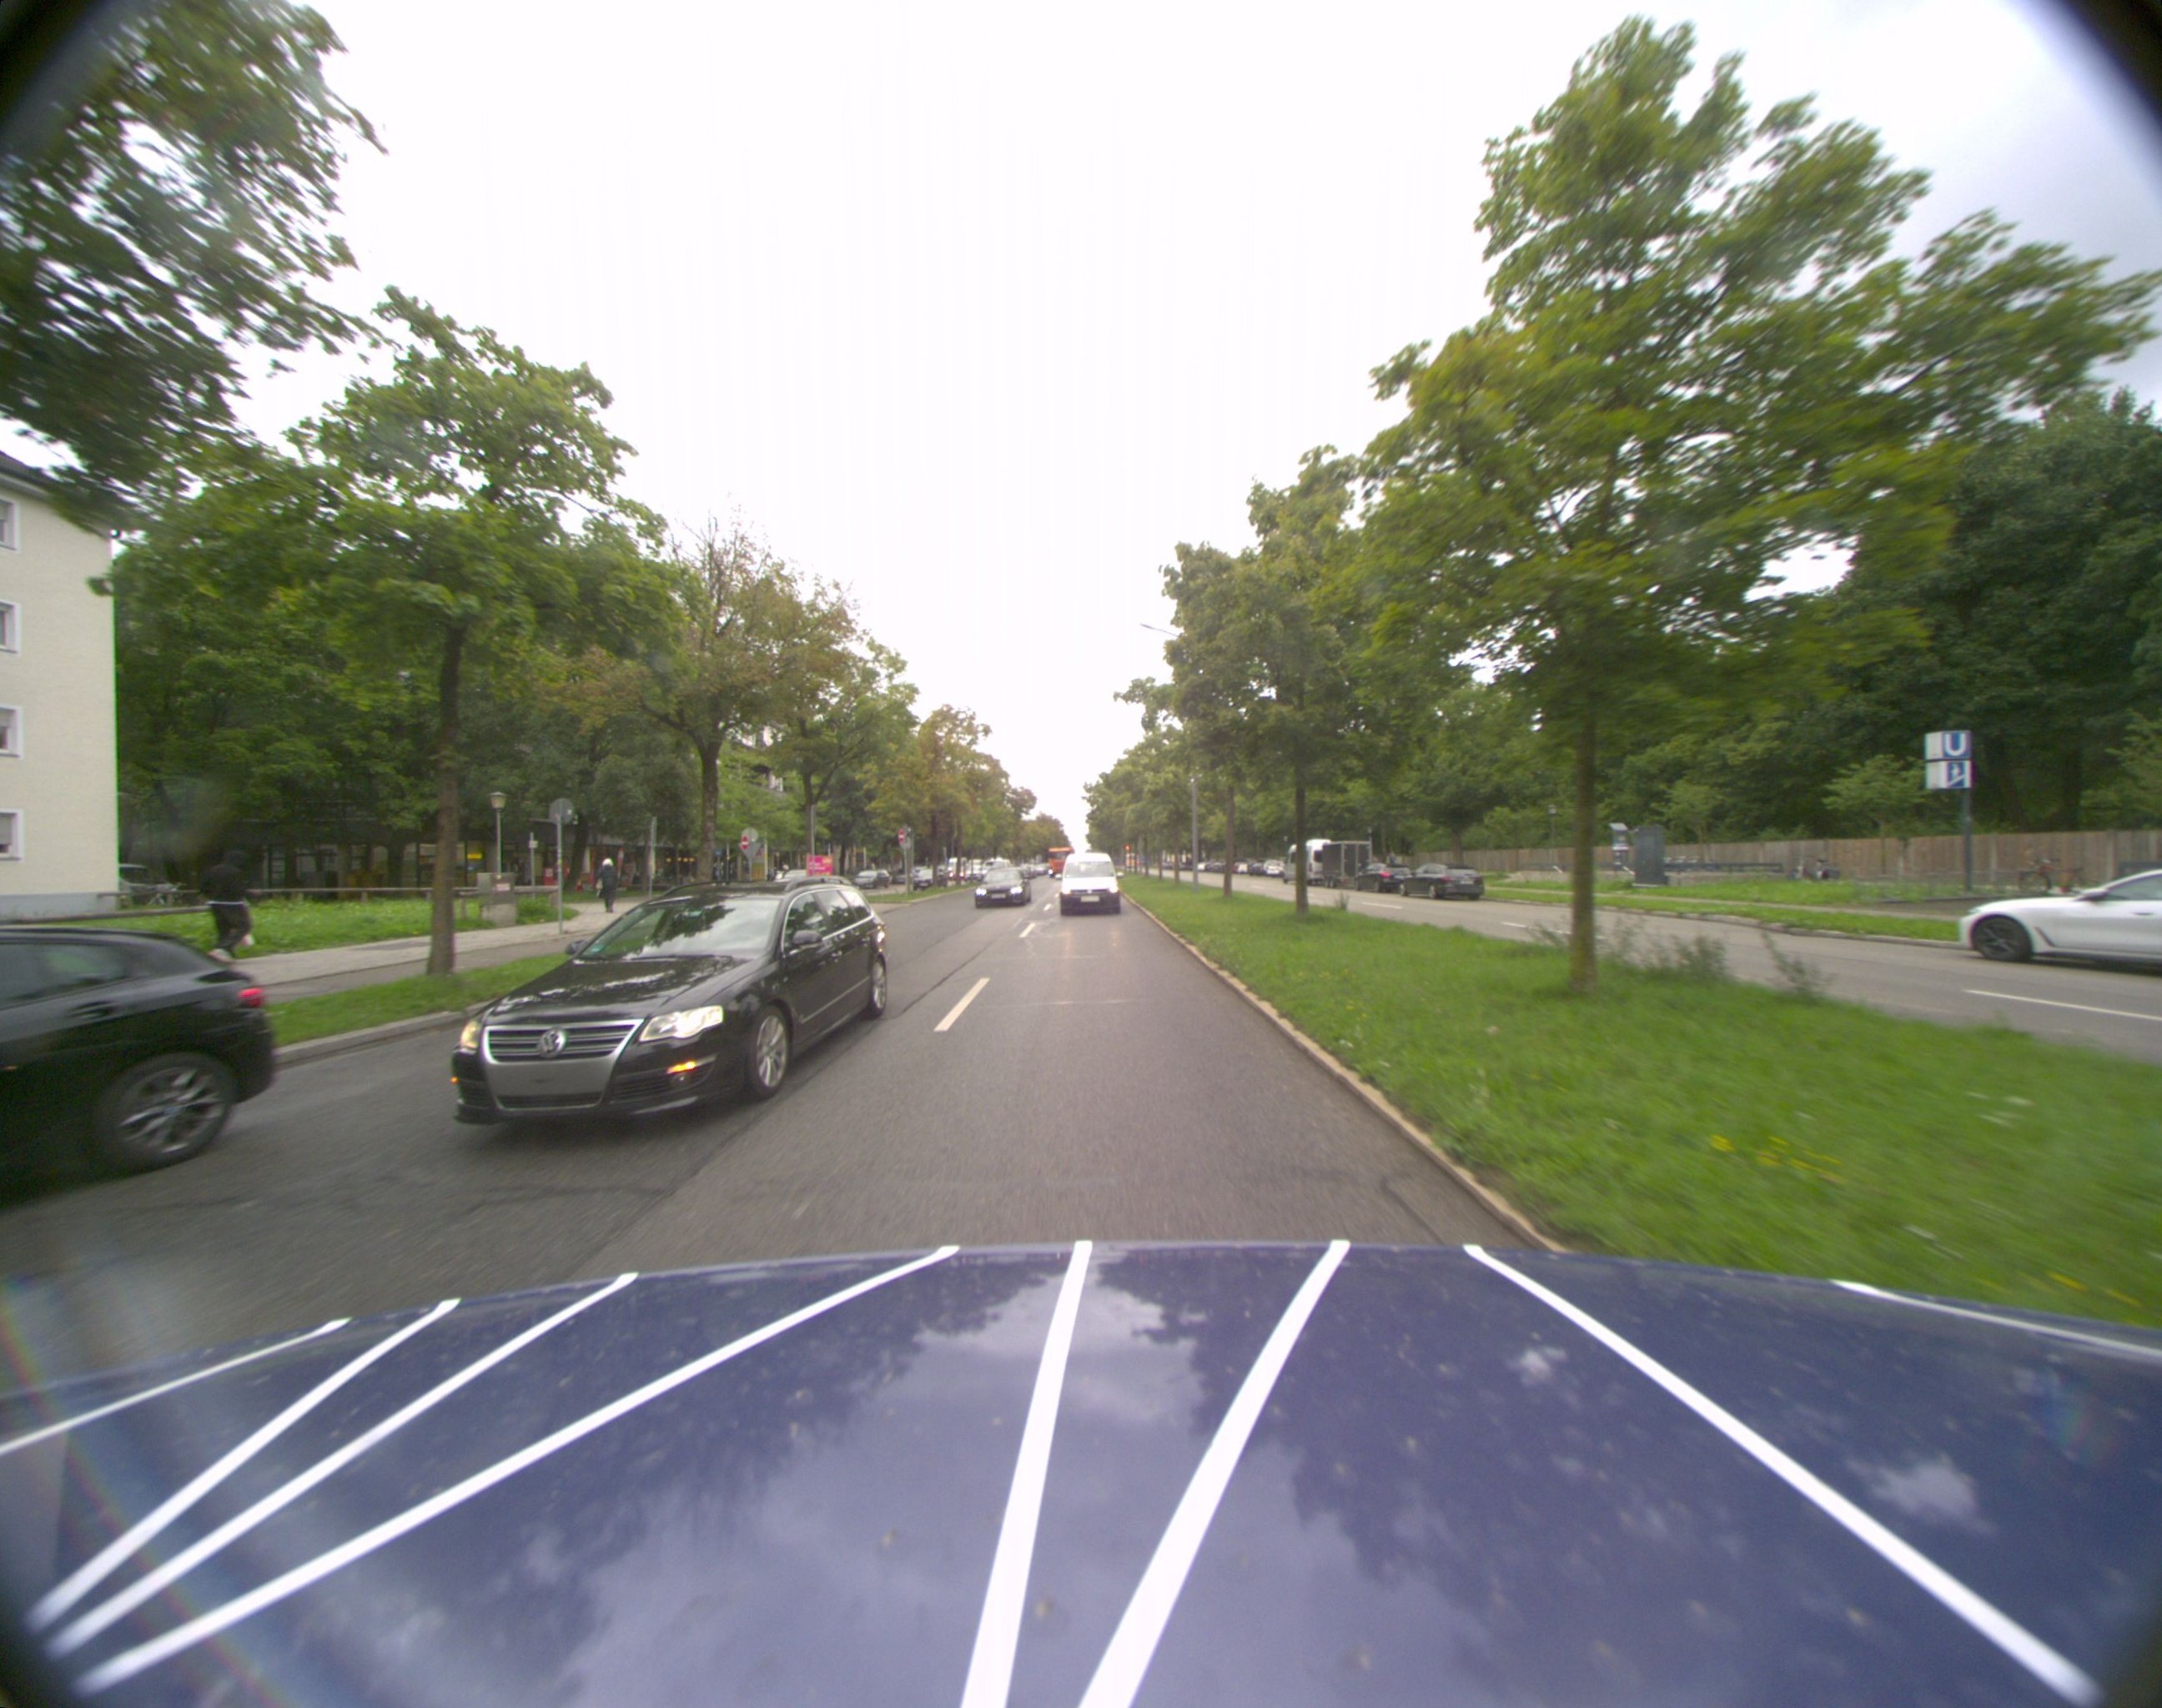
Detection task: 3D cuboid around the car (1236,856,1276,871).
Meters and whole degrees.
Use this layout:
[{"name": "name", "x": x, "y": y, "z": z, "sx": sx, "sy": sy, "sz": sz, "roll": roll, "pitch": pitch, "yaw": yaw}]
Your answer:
[{"name": "car", "x": 19.527, "y": 1.030, "z": 84.613, "sx": 4.005, "sy": 1.454, "sz": 1.888, "roll": -3, "pitch": -1, "yaw": -27}]

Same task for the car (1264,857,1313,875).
[{"name": "car", "x": 18.793, "y": 1.038, "z": 68.683, "sx": 4.331, "sy": 1.430, "sz": 1.797, "roll": -2, "pitch": 0, "yaw": -34}]

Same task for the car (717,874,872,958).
[{"name": "car", "x": -6.089, "y": 1.251, "z": 16.706, "sx": 1.686, "sy": 1.457, "sz": 4.115, "roll": -2, "pitch": 0, "yaw": 2}]

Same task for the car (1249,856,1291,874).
[{"name": "car", "x": 18.737, "y": 1.088, "z": 75.272, "sx": 4.006, "sy": 1.477, "sz": 1.797, "roll": -3, "pitch": -1, "yaw": -34}]

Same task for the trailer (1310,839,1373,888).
[{"name": "trailer", "x": 14.677, "y": 0.523, "z": 43.132, "sx": 2.022, "sy": 2.575, "sz": 4.659, "roll": 0, "pitch": 0, "yaw": 1}]

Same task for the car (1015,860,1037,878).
[{"name": "car", "x": -5.566, "y": 1.489, "z": 77.431, "sx": 1.686, "sy": 1.631, "sz": 4.465, "roll": -4, "pitch": 0, "yaw": 0}]

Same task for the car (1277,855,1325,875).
[{"name": "car", "x": 18.968, "y": 0.943, "z": 65.527, "sx": 4.007, "sy": 1.613, "sz": 1.797, "roll": -2, "pitch": 0, "yaw": -35}]

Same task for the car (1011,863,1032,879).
[{"name": "car", "x": -5.600, "y": 1.574, "z": 72.053, "sx": 1.686, "sy": 1.367, "sz": 4.081, "roll": -2, "pitch": 0, "yaw": -1}]

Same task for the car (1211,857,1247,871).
[{"name": "car", "x": 18.207, "y": 1.203, "z": 93.228, "sx": 4.006, "sy": 1.548, "sz": 1.887, "roll": -3, "pitch": -1, "yaw": -32}]

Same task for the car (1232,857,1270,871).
[{"name": "car", "x": 19.610, "y": 1.148, "z": 87.662, "sx": 4.005, "sy": 1.446, "sz": 1.737, "roll": -3, "pitch": -1, "yaw": -27}]

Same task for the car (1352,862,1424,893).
[{"name": "car", "x": 14.893, "y": 1.094, "z": 37.115, "sx": 1.805, "sy": 1.376, "sz": 4.238, "roll": 0, "pitch": 0, "yaw": 1}]

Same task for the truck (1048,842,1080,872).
[{"name": "truck", "x": -1.829, "y": 0.328, "z": 85.042, "sx": 3.046, "sy": 3.170, "sz": 9.134, "roll": -2, "pitch": 0, "yaw": 1}]

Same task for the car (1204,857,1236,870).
[{"name": "car", "x": 18.941, "y": 1.248, "z": 103.283, "sx": 4.006, "sy": 1.548, "sz": 1.887, "roll": -3, "pitch": -1, "yaw": -32}]

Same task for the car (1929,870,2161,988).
[{"name": "car", "x": 14.674, "y": 0.986, "z": 9.867, "sx": 1.861, "sy": 1.464, "sz": 4.875, "roll": 0, "pitch": 0, "yaw": 0}]

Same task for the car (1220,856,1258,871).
[{"name": "car", "x": 18.827, "y": 1.185, "z": 90.657, "sx": 4.005, "sy": 1.548, "sz": 1.888, "roll": -3, "pitch": -1, "yaw": -27}]

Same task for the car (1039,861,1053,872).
[{"name": "car", "x": -5.060, "y": 1.794, "z": 110.845, "sx": 1.735, "sy": 1.507, "sz": 4.442, "roll": -2, "pitch": 0, "yaw": -1}]

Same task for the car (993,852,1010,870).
[{"name": "car", "x": -12.476, "y": 1.053, "z": 119.790, "sx": 1.978, "sy": 2.641, "sz": 6.006, "roll": -2, "pitch": 0, "yaw": 0}]

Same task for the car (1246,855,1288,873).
[{"name": "car", "x": 19.159, "y": 1.037, "z": 78.316, "sx": 4.005, "sy": 1.577, "sz": 1.798, "roll": -3, "pitch": -1, "yaw": -28}]

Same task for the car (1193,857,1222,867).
[{"name": "car", "x": 18.640, "y": 1.189, "z": 112.082, "sx": 4.006, "sy": 1.357, "sz": 1.588, "roll": -2, "pitch": 0, "yaw": -30}]

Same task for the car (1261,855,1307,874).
[{"name": "car", "x": 19.311, "y": 0.985, "z": 72.339, "sx": 4.331, "sy": 1.564, "sz": 1.797, "roll": -2, "pitch": 0, "yaw": -34}]

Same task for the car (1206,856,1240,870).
[{"name": "car", "x": 18.677, "y": 1.201, "z": 99.810, "sx": 4.006, "sy": 1.548, "sz": 1.887, "roll": -3, "pitch": -1, "yaw": -32}]

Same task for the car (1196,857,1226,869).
[{"name": "car", "x": 18.646, "y": 1.303, "z": 108.824, "sx": 4.006, "sy": 1.548, "sz": 1.887, "roll": -3, "pitch": -1, "yaw": -32}]

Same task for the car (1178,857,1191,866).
[{"name": "car", "x": 17.674, "y": 1.297, "z": 129.780, "sx": 1.889, "sy": 1.435, "sz": 4.170, "roll": -2, "pitch": 0, "yaw": 5}]

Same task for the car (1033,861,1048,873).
[{"name": "car", "x": -5.305, "y": 1.674, "z": 100.135, "sx": 1.735, "sy": 1.498, "sz": 4.442, "roll": -2, "pitch": 0, "yaw": -1}]

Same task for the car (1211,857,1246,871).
[{"name": "car", "x": 18.826, "y": 1.227, "z": 96.880, "sx": 4.006, "sy": 1.548, "sz": 1.887, "roll": -3, "pitch": -1, "yaw": -32}]

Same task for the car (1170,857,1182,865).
[{"name": "car", "x": 17.721, "y": 1.237, "z": 141.765, "sx": 1.889, "sy": 1.435, "sz": 4.170, "roll": -2, "pitch": 0, "yaw": 5}]

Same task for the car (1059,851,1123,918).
[{"name": "car", "x": 0.263, "y": 0.878, "z": 23.824, "sx": 1.750, "sy": 1.807, "sz": 4.667, "roll": -2, "pitch": 0, "yaw": -1}]

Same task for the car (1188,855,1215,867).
[{"name": "car", "x": 18.833, "y": 1.052, "z": 118.701, "sx": 4.006, "sy": 1.718, "sz": 1.777, "roll": -2, "pitch": 0, "yaw": -34}]

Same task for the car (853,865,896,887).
[{"name": "car", "x": -15.642, "y": 1.649, "z": 57.722, "sx": 1.826, "sy": 1.522, "sz": 4.603, "roll": 0, "pitch": 0, "yaw": 2}]

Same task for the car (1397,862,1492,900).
[{"name": "car", "x": 14.651, "y": 1.043, "z": 30.917, "sx": 1.805, "sy": 1.417, "sz": 4.431, "roll": 0, "pitch": 0, "yaw": 1}]
